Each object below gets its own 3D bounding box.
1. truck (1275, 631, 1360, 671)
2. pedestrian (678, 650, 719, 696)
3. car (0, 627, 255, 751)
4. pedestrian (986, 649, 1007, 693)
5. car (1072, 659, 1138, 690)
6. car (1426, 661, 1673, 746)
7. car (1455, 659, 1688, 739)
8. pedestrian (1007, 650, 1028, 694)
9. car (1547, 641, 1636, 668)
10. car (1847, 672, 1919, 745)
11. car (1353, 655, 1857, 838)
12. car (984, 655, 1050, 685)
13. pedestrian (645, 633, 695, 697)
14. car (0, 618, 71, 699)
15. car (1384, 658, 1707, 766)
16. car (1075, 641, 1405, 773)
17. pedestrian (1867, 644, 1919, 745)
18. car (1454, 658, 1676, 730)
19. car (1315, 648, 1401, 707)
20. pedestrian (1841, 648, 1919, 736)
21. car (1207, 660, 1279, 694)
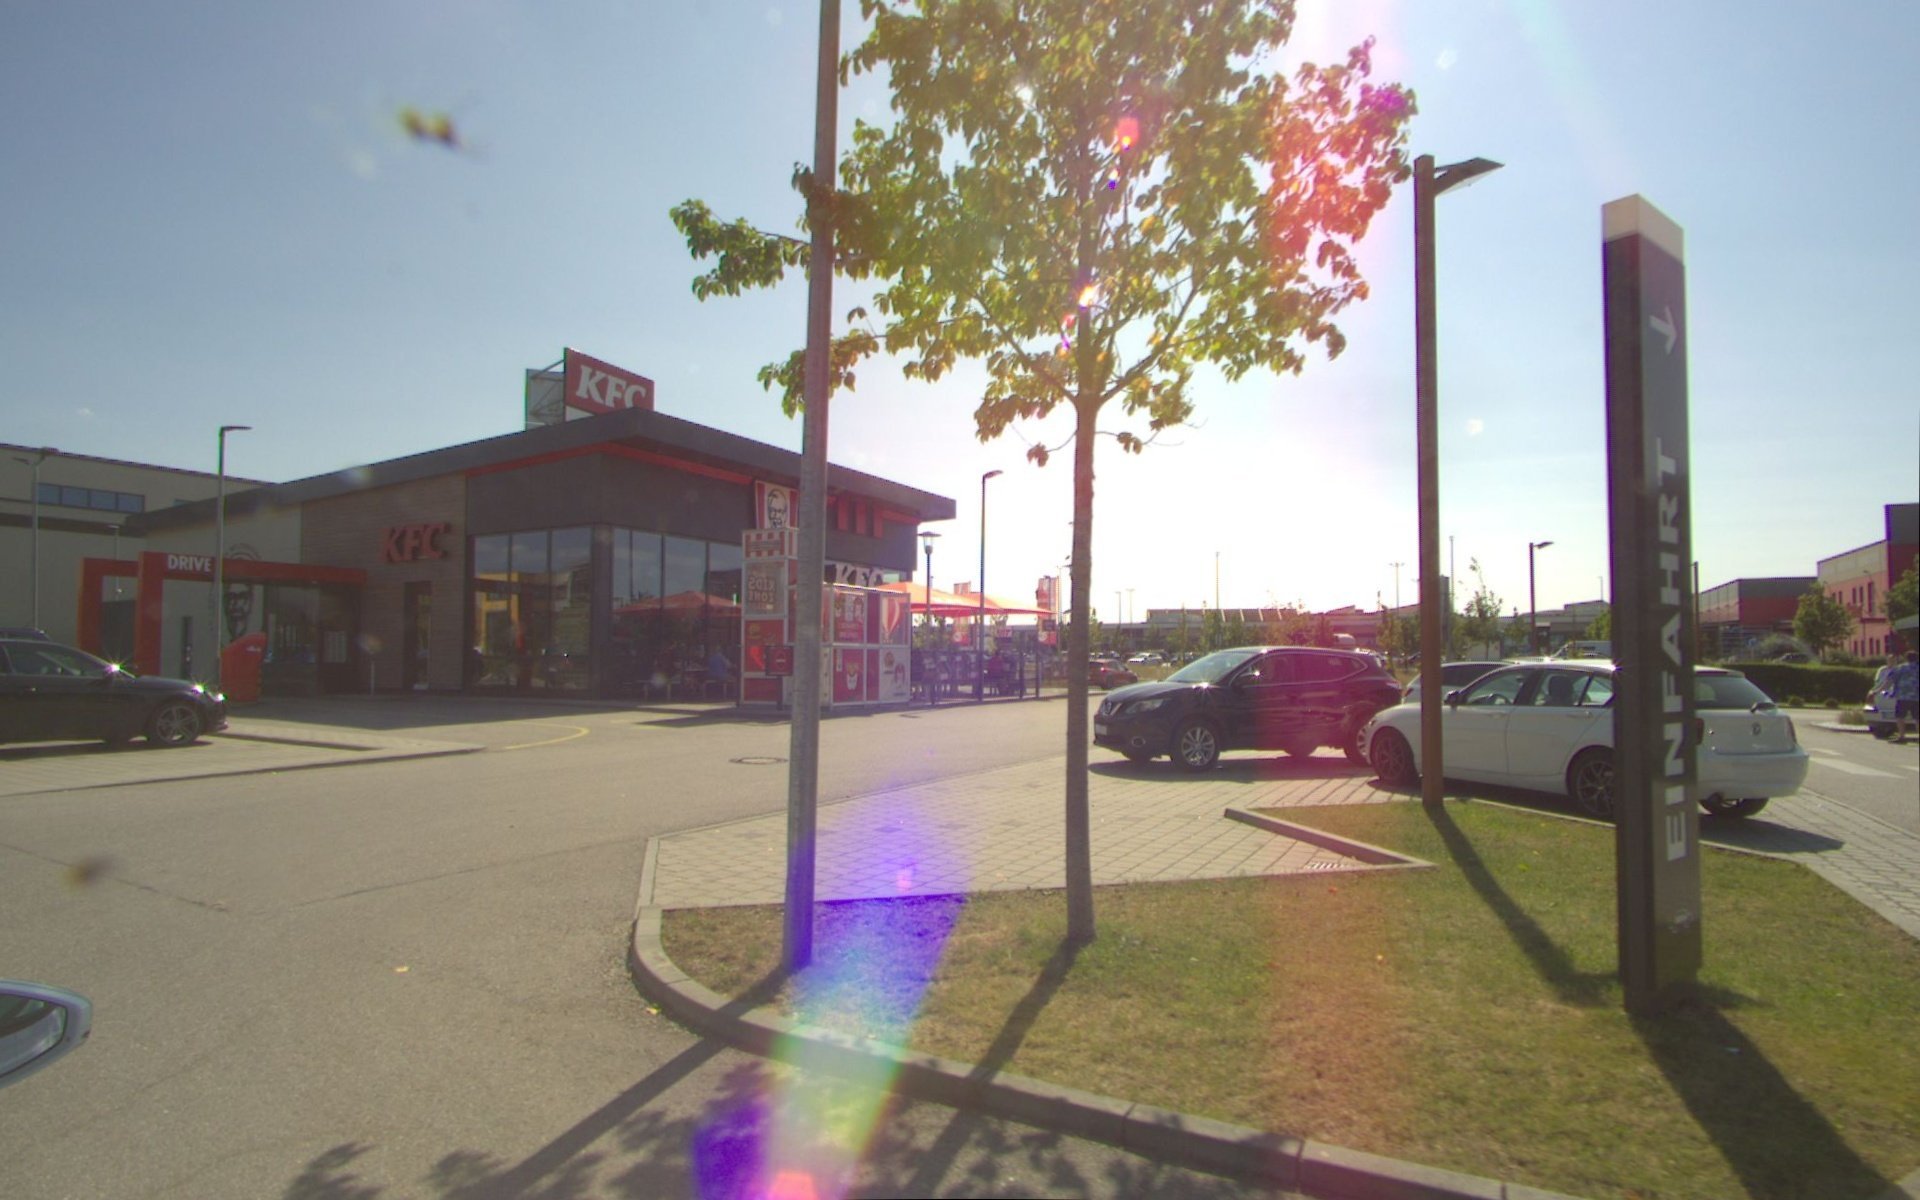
[{"bbox_3d":[31.536,4.453,88.571,2.386,3.394,7.535,2,-2,-27],"label":"truck"},{"bbox_3d":[-6.282,1.749,24.063,0.619,1.085,0.715,0,-2,26],"label":"pedestrian"},{"bbox_3d":[-11.721,1.093,12.717,1.672,1.459,4.200,0,-3,28],"label":"car"},{"bbox_3d":[1.075,2.086,29.562,0.584,1.285,0.687,1,-2,3],"label":"pedestrian"},{"bbox_3d":[7.150,3.641,49.232,1.666,1.472,3.733,-1,-4,36],"label":"car"},{"bbox_3d":[11.187,1.917,19.359,1.788,1.420,3.996,2,-3,-16],"label":"car"},{"bbox_3d":[13.087,2.067,21.705,1.793,1.507,3.986,2,-3,-26],"label":"car"},{"bbox_3d":[1.706,2.116,29.556,0.584,1.285,0.687,1,-2,3],"label":"pedestrian"},{"bbox_3d":[55.830,4.837,88.693,6.472,2.272,2.293,-1,-3,29],"label":"car"},{"bbox_3d":[21.062,2.291,21.075,3.833,1.443,1.706,2,-3,-14],"label":"car"},{"bbox_3d":[6.201,1.316,10.309,1.812,1.443,4.180,2,-3,-17],"label":"car"},{"bbox_3d":[2.967,3.603,51.804,1.666,1.472,3.733,-1,-4,36],"label":"car"},{"bbox_3d":[-6.777,1.503,23.407,0.760,1.453,0.797,0,-2,26],"label":"pedestrian"},{"bbox_3d":[-21.242,1.179,20.410,1.614,1.706,4.375,0,-3,24],"label":"car"},{"bbox_3d":[9.386,1.728,16.544,1.882,1.489,4.464,2,-3,-19],"label":"car"},{"bbox_3d":[3.761,1.399,13.604,4.014,1.596,1.755,2,-3,-16],"label":"car"},{"bbox_3d":[18.610,1.852,19.748,1.017,1.939,0.896,-1,-3,41],"label":"pedestrian"},{"bbox_3d":[14.493,2.207,24.281,1.753,1.530,4.333,2,-3,-29],"label":"car"},{"bbox_3d":[13.266,2.529,33.234,2.041,1.771,4.351,-1,-3,30],"label":"car"},{"bbox_3d":[20.671,2.049,22.509,0.900,1.939,0.903,1,-2,-5],"label":"pedestrian"},{"bbox_3d":[12.734,3.413,44.937,1.863,1.415,4.133,-1,-4,35],"label":"car"}]
